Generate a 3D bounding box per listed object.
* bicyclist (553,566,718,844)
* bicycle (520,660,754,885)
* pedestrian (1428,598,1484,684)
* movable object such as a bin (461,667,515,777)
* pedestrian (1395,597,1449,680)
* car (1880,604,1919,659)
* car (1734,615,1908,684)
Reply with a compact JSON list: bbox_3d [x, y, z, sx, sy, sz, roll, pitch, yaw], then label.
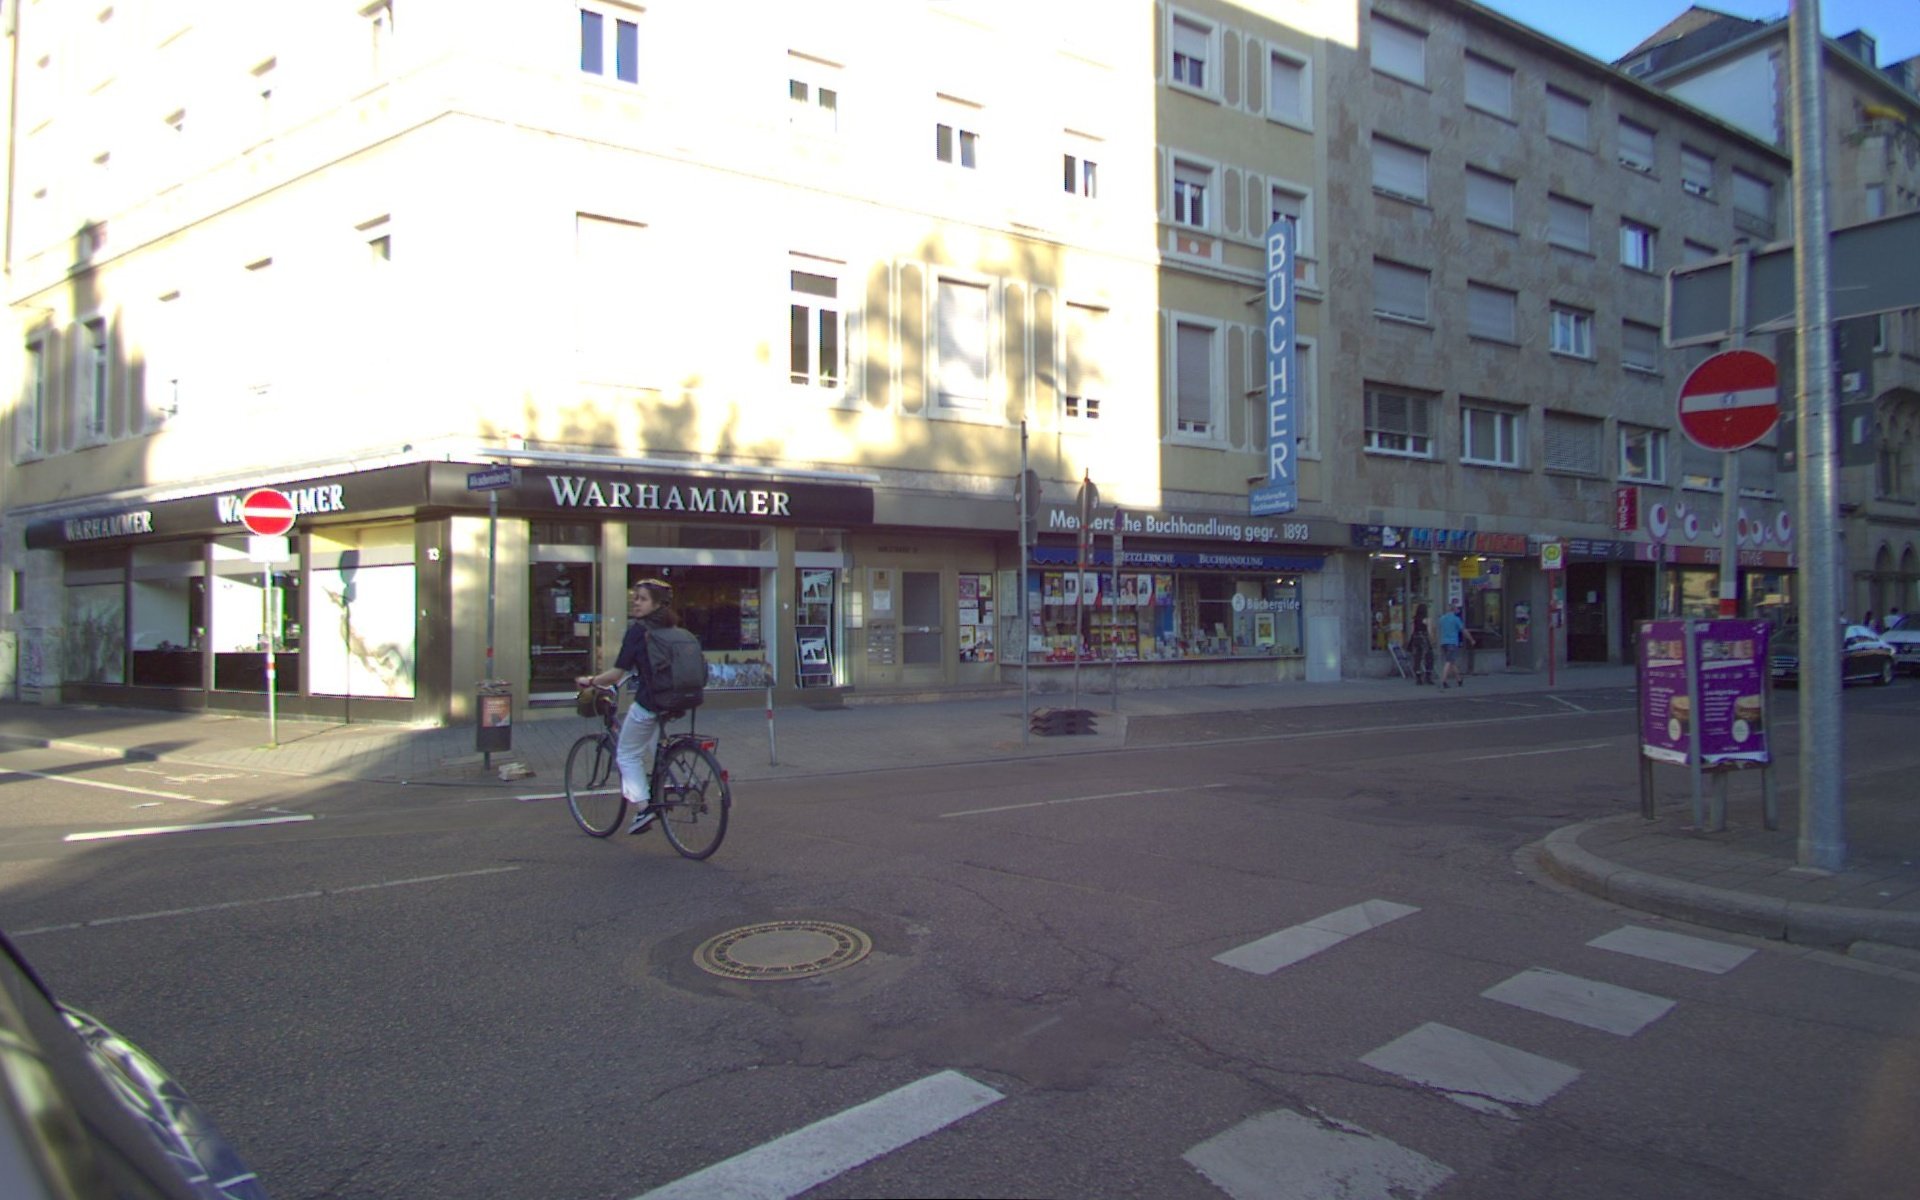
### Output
[{"bbox_3d":[-2.033,0.603,6.316,0.650,1.582,0.864,0,-1,-45],"label":"bicyclist"},{"bbox_3d":[-2.090,0.991,6.386,0.656,1.147,1.823,0,-1,-44],"label":"bicycle"},{"bbox_3d":[10.169,0.836,20.750,0.789,1.720,0.667,0,-2,-29],"label":"pedestrian"},{"bbox_3d":[-4.814,1.231,10.324,0.353,1.072,0.358,-1,-1,20],"label":"movable object such as a bin"},{"bbox_3d":[9.765,0.806,21.382,0.789,1.720,0.667,0,-2,-29],"label":"pedestrian"},{"bbox_3d":[26.386,0.798,26.730,4.544,1.402,1.869,0,-2,-32],"label":"car"},{"bbox_3d":[19.661,1.084,23.088,3.932,1.402,1.869,0,-2,-32],"label":"car"}]
